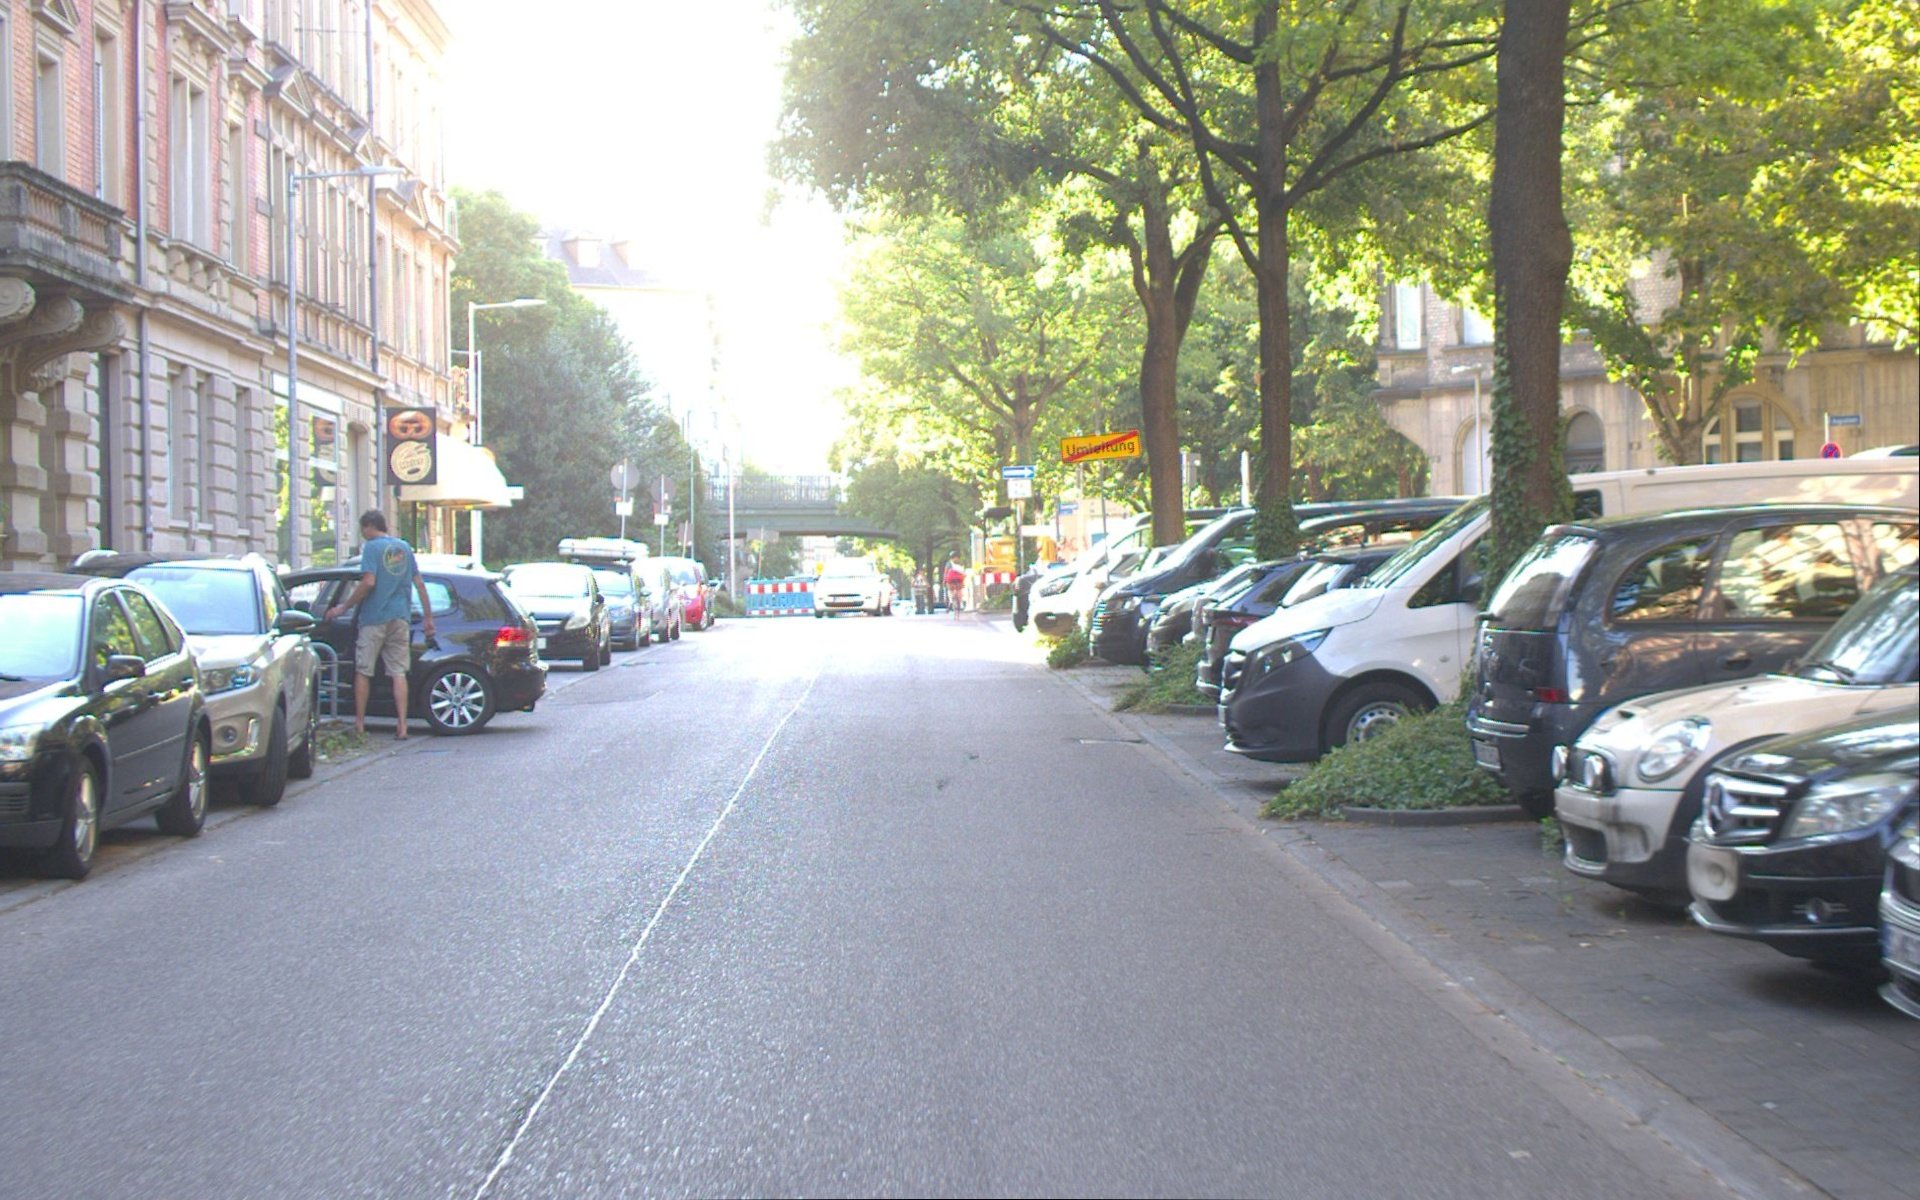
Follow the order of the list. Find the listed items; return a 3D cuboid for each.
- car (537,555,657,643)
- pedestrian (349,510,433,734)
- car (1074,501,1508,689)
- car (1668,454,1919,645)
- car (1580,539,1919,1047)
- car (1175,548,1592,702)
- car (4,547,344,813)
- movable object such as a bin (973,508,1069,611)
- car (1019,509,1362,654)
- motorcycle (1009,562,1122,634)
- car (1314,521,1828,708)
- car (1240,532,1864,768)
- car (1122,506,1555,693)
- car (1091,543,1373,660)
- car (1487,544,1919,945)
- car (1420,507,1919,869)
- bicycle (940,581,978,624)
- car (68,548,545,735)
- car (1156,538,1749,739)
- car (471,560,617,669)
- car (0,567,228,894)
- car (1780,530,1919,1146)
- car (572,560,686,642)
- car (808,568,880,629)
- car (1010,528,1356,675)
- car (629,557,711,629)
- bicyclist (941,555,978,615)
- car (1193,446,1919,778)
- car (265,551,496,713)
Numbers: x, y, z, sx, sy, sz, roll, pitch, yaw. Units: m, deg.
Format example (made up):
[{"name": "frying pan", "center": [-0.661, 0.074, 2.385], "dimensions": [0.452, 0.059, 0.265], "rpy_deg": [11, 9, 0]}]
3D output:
[{"name": "car", "center": [-6.171, -0.038, 58.763], "dimensions": [1.764, 1.432, 4.301], "rpy_deg": [0, 1, -2]}, {"name": "pedestrian", "center": [-4.851, 0.185, 29.323], "dimensions": [0.590, 1.881, 0.640], "rpy_deg": [-1, 1, -1]}, {"name": "car", "center": [3.684, -0.069, 38.875], "dimensions": [4.614, 2.007, 2.000], "rpy_deg": [-1, 1, -3]}, {"name": "car", "center": [12.964, -0.699, 47.180], "dimensions": [5.893, 2.528, 2.380], "rpy_deg": [0, 1, -7]}, {"name": "car", "center": [4.643, 0.527, 11.507], "dimensions": [4.658, 1.498, 1.933], "rpy_deg": [-1, 1, -10]}, {"name": "car", "center": [4.137, 0.230, 34.121], "dimensions": [3.987, 1.443, 1.890], "rpy_deg": [-1, 1, 4]}, {"name": "car", "center": [-5.171, 0.463, 23.080], "dimensions": [1.647, 1.569, 4.050], "rpy_deg": [2, 1, -5]}, {"name": "movable object such as a bin", "center": [1.659, -1.070, 92.018], "dimensions": [1.994, 2.690, 3.108], "rpy_deg": [0, 0, 12]}, {"name": "car", "center": [3.426, -0.282, 51.849], "dimensions": [4.973, 2.089, 2.106], "rpy_deg": [-1, 1, -1]}, {"name": "motorcycle", "center": [1.986, -0.041, 65.130], "dimensions": [2.023, 1.280, 0.904], "rpy_deg": [-3, 1, -2]}, {"name": "car", "center": [5.215, 0.112, 29.703], "dimensions": [4.081, 1.492, 1.843], "rpy_deg": [-1, 1, 0]}, {"name": "car", "center": [4.166, 0.325, 24.502], "dimensions": [3.986, 1.469, 1.782], "rpy_deg": [-2, 1, -8]}, {"name": "car", "center": [3.971, -0.021, 36.501], "dimensions": [4.267, 1.878, 1.940], "rpy_deg": [-1, 1, -4]}, {"name": "car", "center": [3.830, 0.007, 48.870], "dimensions": [3.840, 1.590, 1.741], "rpy_deg": [-1, 1, -1]}, {"name": "car", "center": [4.406, 0.515, 14.100], "dimensions": [4.104, 1.498, 1.811], "rpy_deg": [-1, 1, -5]}, {"name": "car", "center": [4.378, 0.378, 16.899], "dimensions": [3.883, 1.643, 1.725], "rpy_deg": [-1, 1, -5]}, {"name": "bicycle", "center": [-0.031, 0.046, 79.417], "dimensions": [0.803, 0.965, 2.108], "rpy_deg": [1, 0, -1]}, {"name": "car", "center": [-5.701, 0.342, 30.403], "dimensions": [3.986, 1.524, 1.826], "rpy_deg": [-1, 1, -6]}, {"name": "car", "center": [3.804, 0.281, 27.141], "dimensions": [4.369, 1.450, 1.934], "rpy_deg": [-1, 1, 0]}, {"name": "car", "center": [-5.837, 0.175, 48.593], "dimensions": [1.703, 1.449, 4.020], "rpy_deg": [-1, 1, -2]}, {"name": "car", "center": [-5.083, 0.589, 18.102], "dimensions": [1.647, 1.468, 4.000], "rpy_deg": [2, 1, -1]}, {"name": "car", "center": [4.650, 0.554, 8.935], "dimensions": [4.552, 1.524, 2.000], "rpy_deg": [-1, 1, 1]}, {"name": "car", "center": [-6.126, -0.002, 63.983], "dimensions": [1.725, 1.432, 3.996], "rpy_deg": [1, 1, 0]}, {"name": "car", "center": [-2.927, -0.058, 87.345], "dimensions": [1.749, 1.504, 4.000], "rpy_deg": [-1, 1, -1]}, {"name": "car", "center": [2.659, 0.007, 41.631], "dimensions": [3.986, 1.686, 1.800], "rpy_deg": [-1, 1, -2]}, {"name": "car", "center": [-6.239, -0.165, 74.315], "dimensions": [1.669, 1.525, 4.000], "rpy_deg": [0, 0, -3]}, {"name": "bicyclist", "center": [-0.019, -0.344, 79.222], "dimensions": [0.803, 1.379, 0.985], "rpy_deg": [1, 0, -2]}, {"name": "car", "center": [4.099, 0.113, 21.553], "dimensions": [5.091, 1.933, 2.158], "rpy_deg": [-1, -3, 0]}, {"name": "car", "center": [-5.947, 0.289, 35.662], "dimensions": [1.741, 1.562, 3.895], "rpy_deg": [-1, 1, 0]}]
